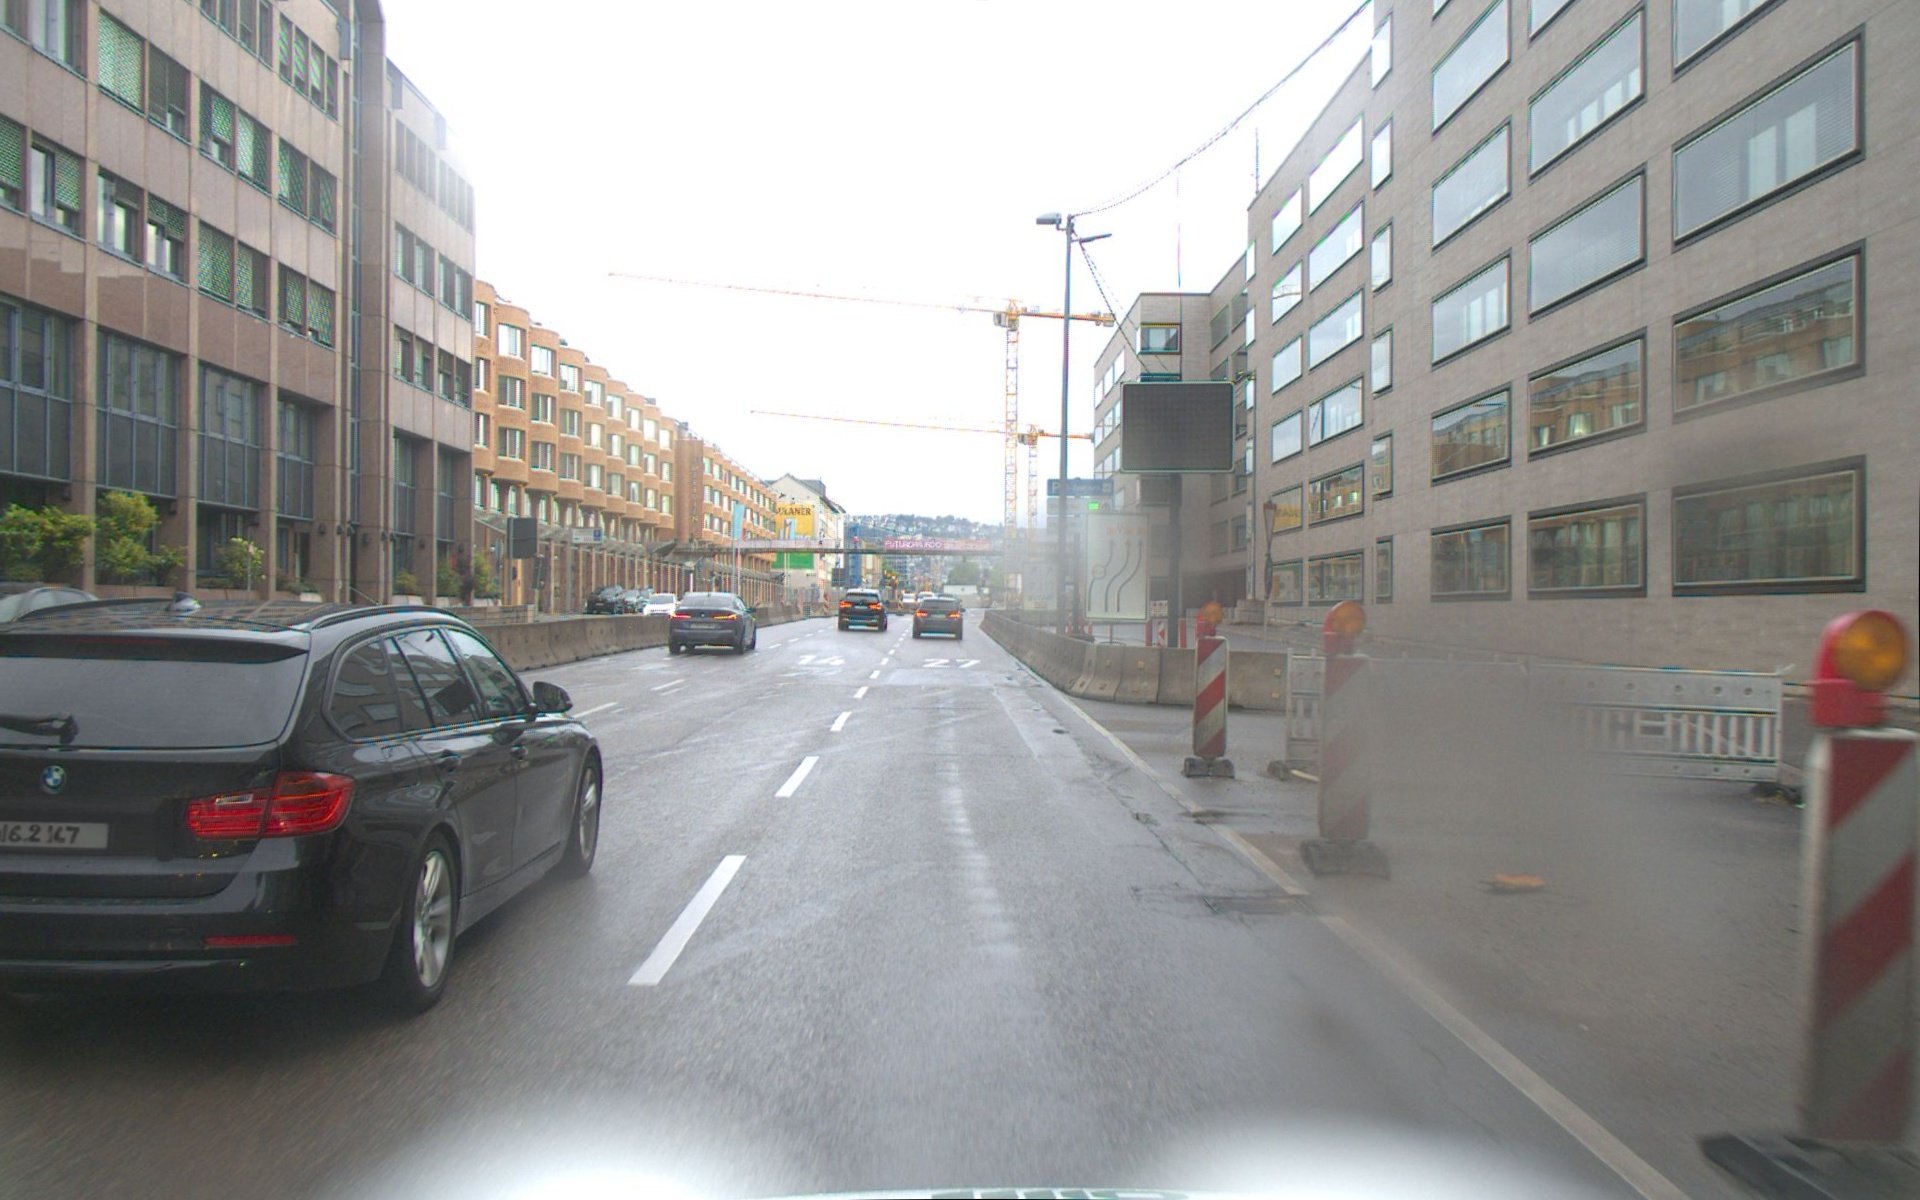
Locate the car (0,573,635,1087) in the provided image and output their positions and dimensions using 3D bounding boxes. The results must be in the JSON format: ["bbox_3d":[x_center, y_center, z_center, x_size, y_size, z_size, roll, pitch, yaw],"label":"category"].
[{"bbox_3d":[-2.680,0.648,7.017,1.755,1.451,4.612,1,0,-1],"label":"car"}]

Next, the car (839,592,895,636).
[{"bbox_3d":[-3.734,0.543,66.944,1.860,1.723,4.001,0,0,2],"label":"car"}]

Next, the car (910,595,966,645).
[{"bbox_3d":[-0.750,0.702,59.174,1.861,1.723,4.000,0,0,1],"label":"car"}]

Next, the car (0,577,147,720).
[{"bbox_3d":[-11.385,0.532,19.277,1.823,1.560,4.229,0,0,-2],"label":"car"}]

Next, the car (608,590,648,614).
[{"bbox_3d":[-23.606,0.144,117.724,1.953,1.648,4.317,0,0,0],"label":"car"}]

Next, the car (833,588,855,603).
[{"bbox_3d":[-12.827,-0.469,182.906,1.952,1.648,4.763,0,0,1],"label":"car"}]

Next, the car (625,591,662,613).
[{"bbox_3d":[-23.492,0.159,122.859,1.953,1.648,4.317,0,0,0],"label":"car"}]

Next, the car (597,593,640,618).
[{"bbox_3d":[-22.781,0.371,110.488,1.953,1.648,4.762,0,0,0],"label":"car"}]

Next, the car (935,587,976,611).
[{"bbox_3d":[-0.312,-0.063,122.483,1.860,1.723,4.002,0,0,18],"label":"car"}]

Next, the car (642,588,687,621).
[{"bbox_3d":[-14.296,0.194,80.135,1.570,1.468,3.657,0,1,-1],"label":"car"}]

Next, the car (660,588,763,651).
[{"bbox_3d":[-6.020,0.460,40.574,1.753,1.451,4.385,0,0,2],"label":"car"}]

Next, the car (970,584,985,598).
[{"bbox_3d":[2.249,-1.173,214.691,1.860,1.723,4.001,0,0,2],"label":"car"}]

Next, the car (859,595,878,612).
[{"bbox_3d":[-11.047,0.464,199.664,1.952,2.049,4.000,0,0,1],"label":"car"}]
